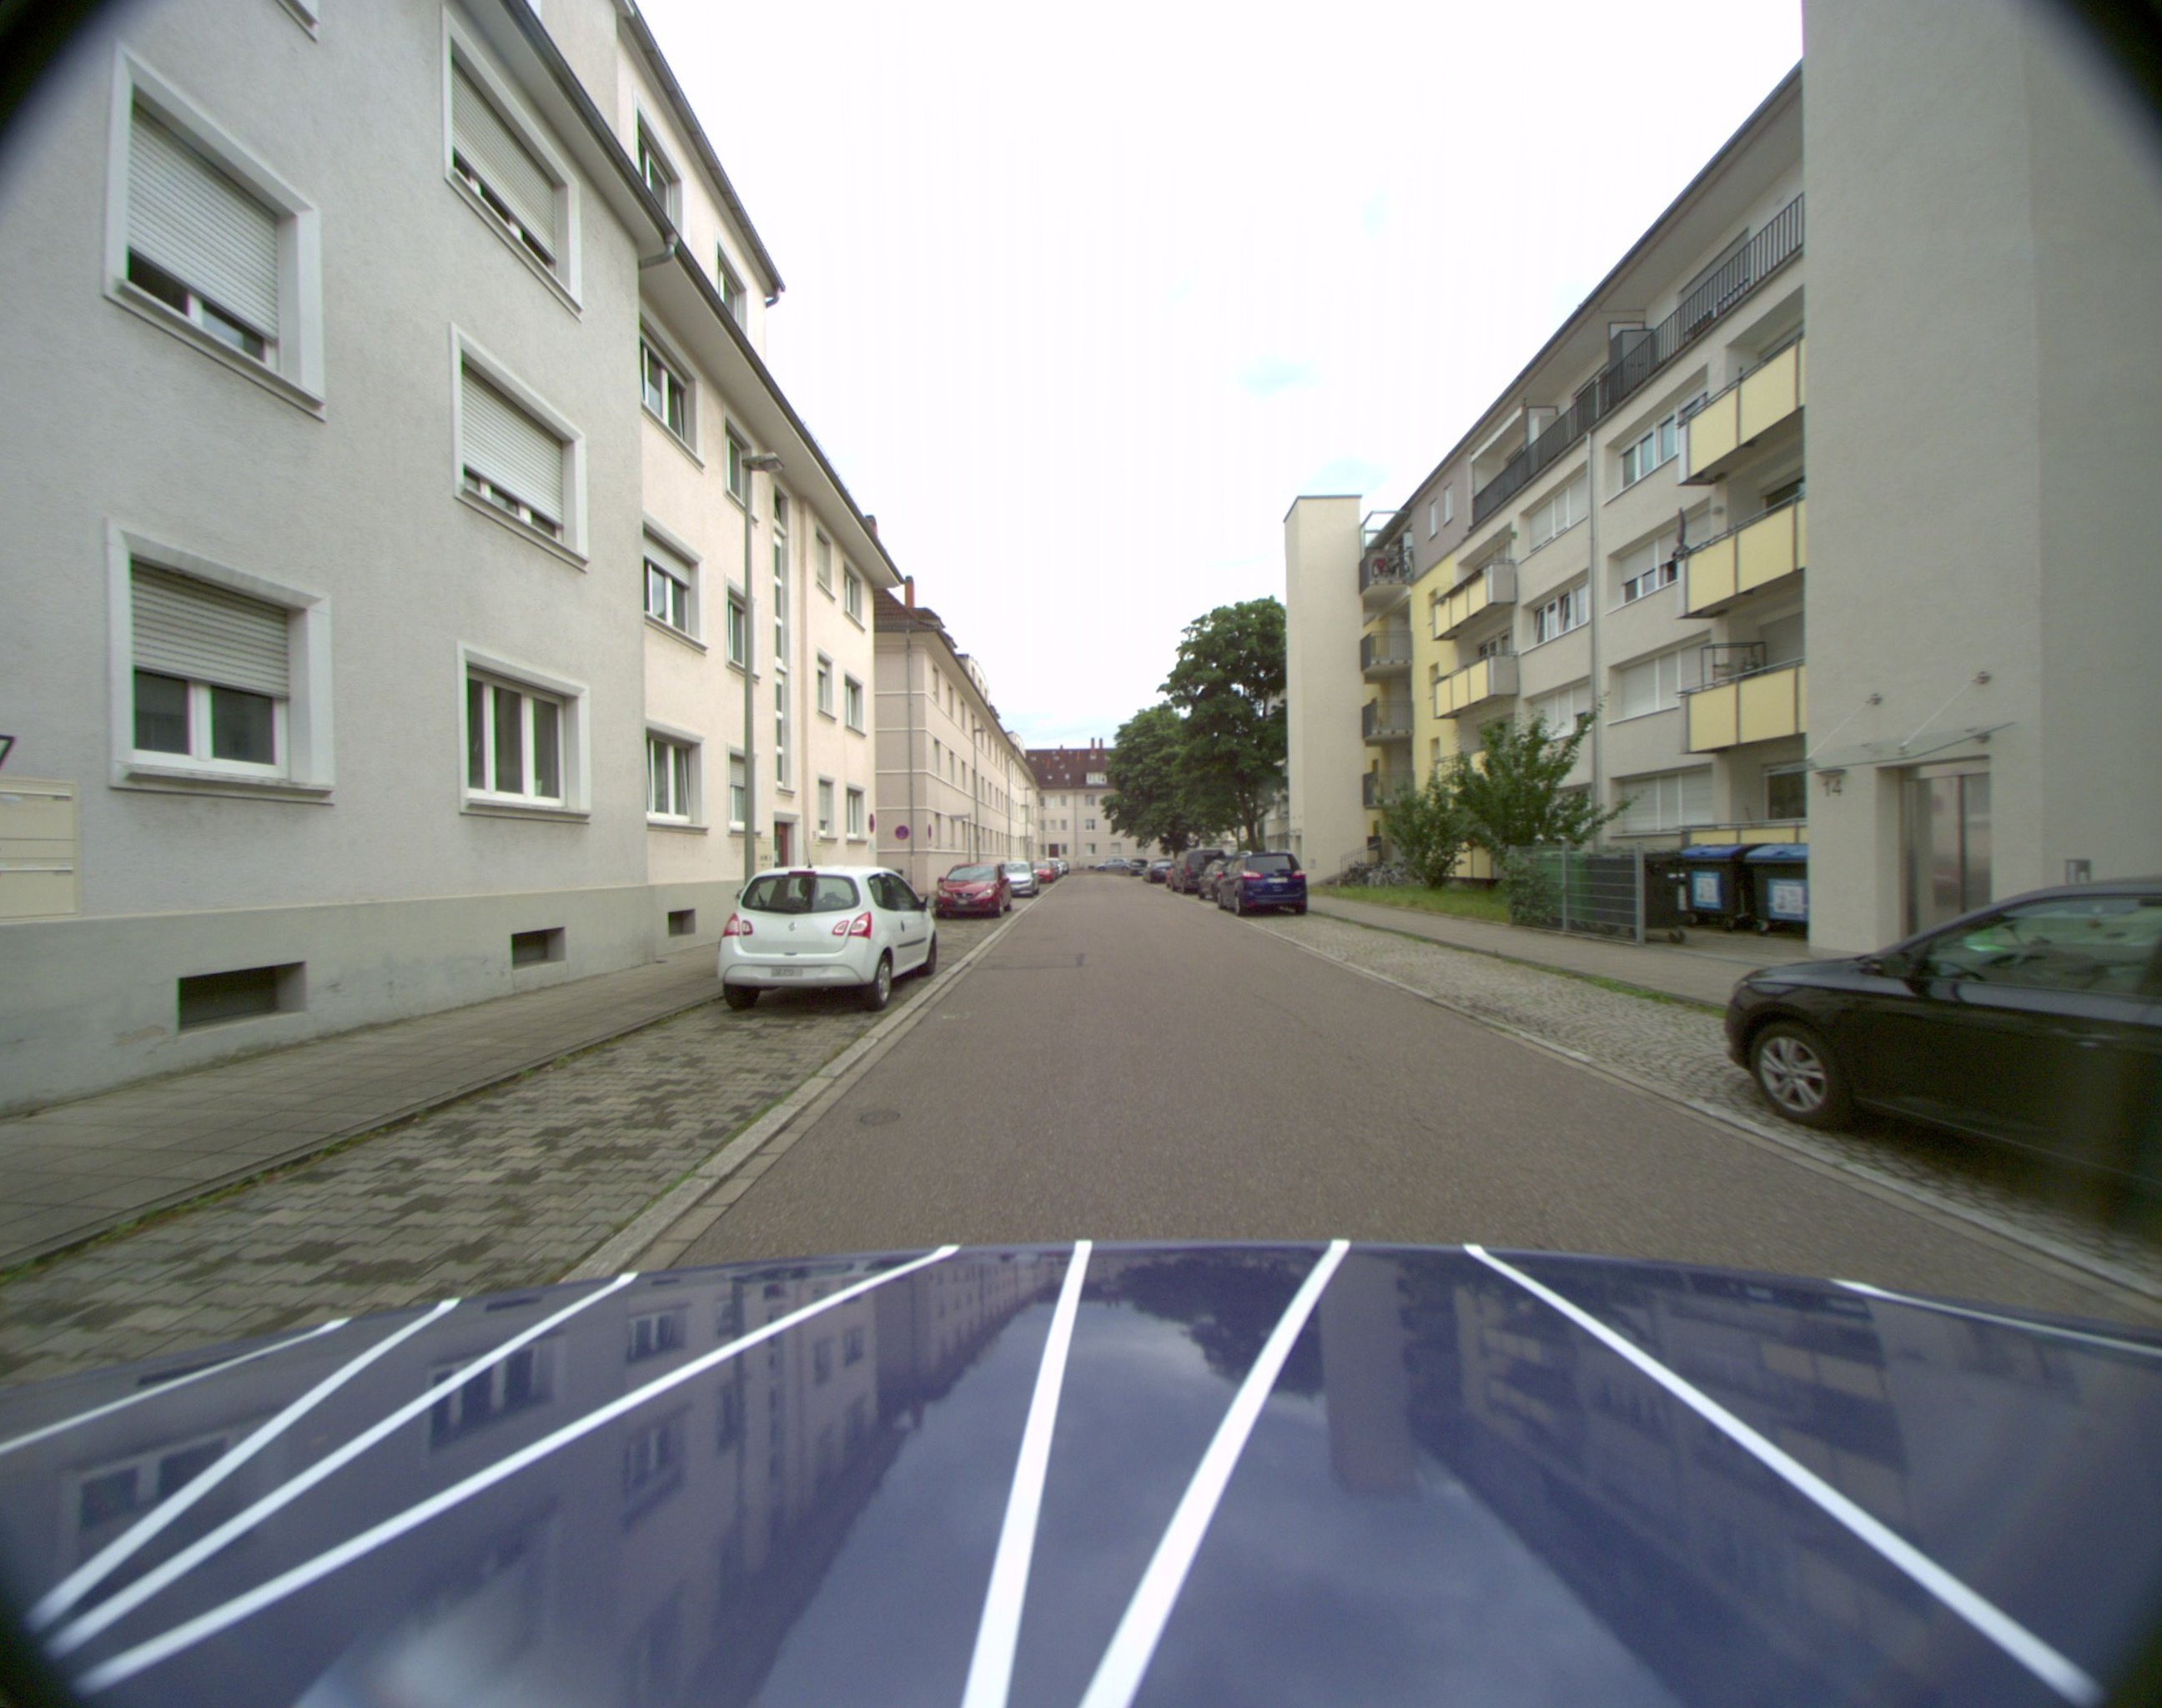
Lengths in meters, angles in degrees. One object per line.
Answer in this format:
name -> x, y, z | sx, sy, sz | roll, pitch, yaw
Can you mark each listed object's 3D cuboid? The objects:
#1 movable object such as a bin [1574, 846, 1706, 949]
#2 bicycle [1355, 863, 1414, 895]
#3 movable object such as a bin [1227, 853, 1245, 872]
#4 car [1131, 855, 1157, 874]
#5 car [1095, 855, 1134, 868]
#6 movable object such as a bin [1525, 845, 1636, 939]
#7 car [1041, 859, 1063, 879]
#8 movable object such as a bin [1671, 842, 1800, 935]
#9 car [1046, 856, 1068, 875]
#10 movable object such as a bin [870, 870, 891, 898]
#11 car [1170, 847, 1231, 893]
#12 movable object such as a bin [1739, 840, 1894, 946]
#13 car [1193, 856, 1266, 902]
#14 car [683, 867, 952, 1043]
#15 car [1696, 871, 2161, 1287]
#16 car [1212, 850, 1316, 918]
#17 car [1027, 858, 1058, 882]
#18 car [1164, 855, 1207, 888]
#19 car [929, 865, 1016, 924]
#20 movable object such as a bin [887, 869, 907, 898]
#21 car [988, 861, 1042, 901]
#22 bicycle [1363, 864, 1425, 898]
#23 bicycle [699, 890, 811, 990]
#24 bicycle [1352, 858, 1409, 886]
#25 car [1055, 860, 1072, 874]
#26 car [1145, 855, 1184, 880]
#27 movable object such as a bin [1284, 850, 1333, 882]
movable object such as a bin -> 8.403, 0.626, 11.499 | 1.004, 1.438, 1.314 | -2, 0, 1
bicycle -> 11.136, 0.907, 27.921 | 1.855, 1.130, 0.717 | -1, 0, 7
movable object such as a bin -> 11.933, 0.668, 58.501 | 1.184, 1.467, 0.889 | -1, 0, 4
car -> 5.610, 0.911, 68.493 | 2.000, 1.566, 4.210 | -3, 0, 1
car -> 4.067, 0.930, 91.777 | 4.545, 1.550, 1.565 | -1, 0, 5
movable object such as a bin -> 8.455, 0.614, 12.934 | 1.004, 1.492, 1.314 | -2, 0, 1
car -> -2.275, 1.207, 61.223 | 1.587, 1.500, 3.486 | -1, 0, 1
movable object such as a bin -> 10.892, 0.552, 12.705 | 1.004, 1.438, 1.314 | -2, 0, 1
car -> -2.119, 1.019, 67.458 | 1.764, 1.595, 3.956 | -1, 0, 1
movable object such as a bin -> -7.524, 1.126, 28.523 | 0.549, 1.036, 0.705 | -1, 0, 3
car -> 5.150, 0.647, 33.463 | 1.891, 1.844, 4.785 | -1, 0, 0
movable object such as a bin -> 10.850, 0.544, 11.279 | 1.004, 1.438, 1.314 | -2, 0, 1
car -> 5.191, 0.836, 27.054 | 1.625, 1.437, 3.818 | -2, 0, -3
car -> -2.816, 0.992, 9.095 | 1.788, 1.590, 3.805 | -1, 0, 2
car -> 4.837, 0.867, 3.016 | 1.647, 1.430, 3.856 | -3, 0, 1
car -> 4.961, 0.757, 21.217 | 1.804, 1.617, 4.472 | -2, 0, 1
car -> -2.490, 1.038, 49.897 | 1.758, 1.477, 3.773 | 0, 0, 1
car -> 5.287, 0.862, 38.756 | 1.625, 1.559, 3.613 | -1, 0, -1
car -> -2.838, 1.024, 20.656 | 1.758, 1.401, 3.936 | -1, 0, 1
movable object such as a bin -> -6.931, 1.104, 28.682 | 0.549, 1.036, 0.705 | -1, 0, 3
car -> -2.612, 1.046, 30.894 | 1.792, 1.455, 4.040 | -1, 0, 1
bicycle -> 10.839, 0.930, 26.336 | 1.857, 1.130, 0.716 | -1, 0, -2
bicycle -> -4.406, 1.111, 10.459 | 0.607, 1.133, 2.125 | -1, 0, 0
bicycle -> 11.263, 0.680, 28.621 | 1.855, 1.014, 0.671 | -1, 0, 7
car -> -1.713, 1.263, 76.820 | 1.563, 1.334, 3.789 | -1, 0, 1
car -> 5.284, 0.858, 48.618 | 1.919, 1.431, 4.434 | -3, 0, -1
movable object such as a bin -> 11.140, 0.558, 37.329 | 1.617, 1.515, 2.541 | -1, 0, 0
